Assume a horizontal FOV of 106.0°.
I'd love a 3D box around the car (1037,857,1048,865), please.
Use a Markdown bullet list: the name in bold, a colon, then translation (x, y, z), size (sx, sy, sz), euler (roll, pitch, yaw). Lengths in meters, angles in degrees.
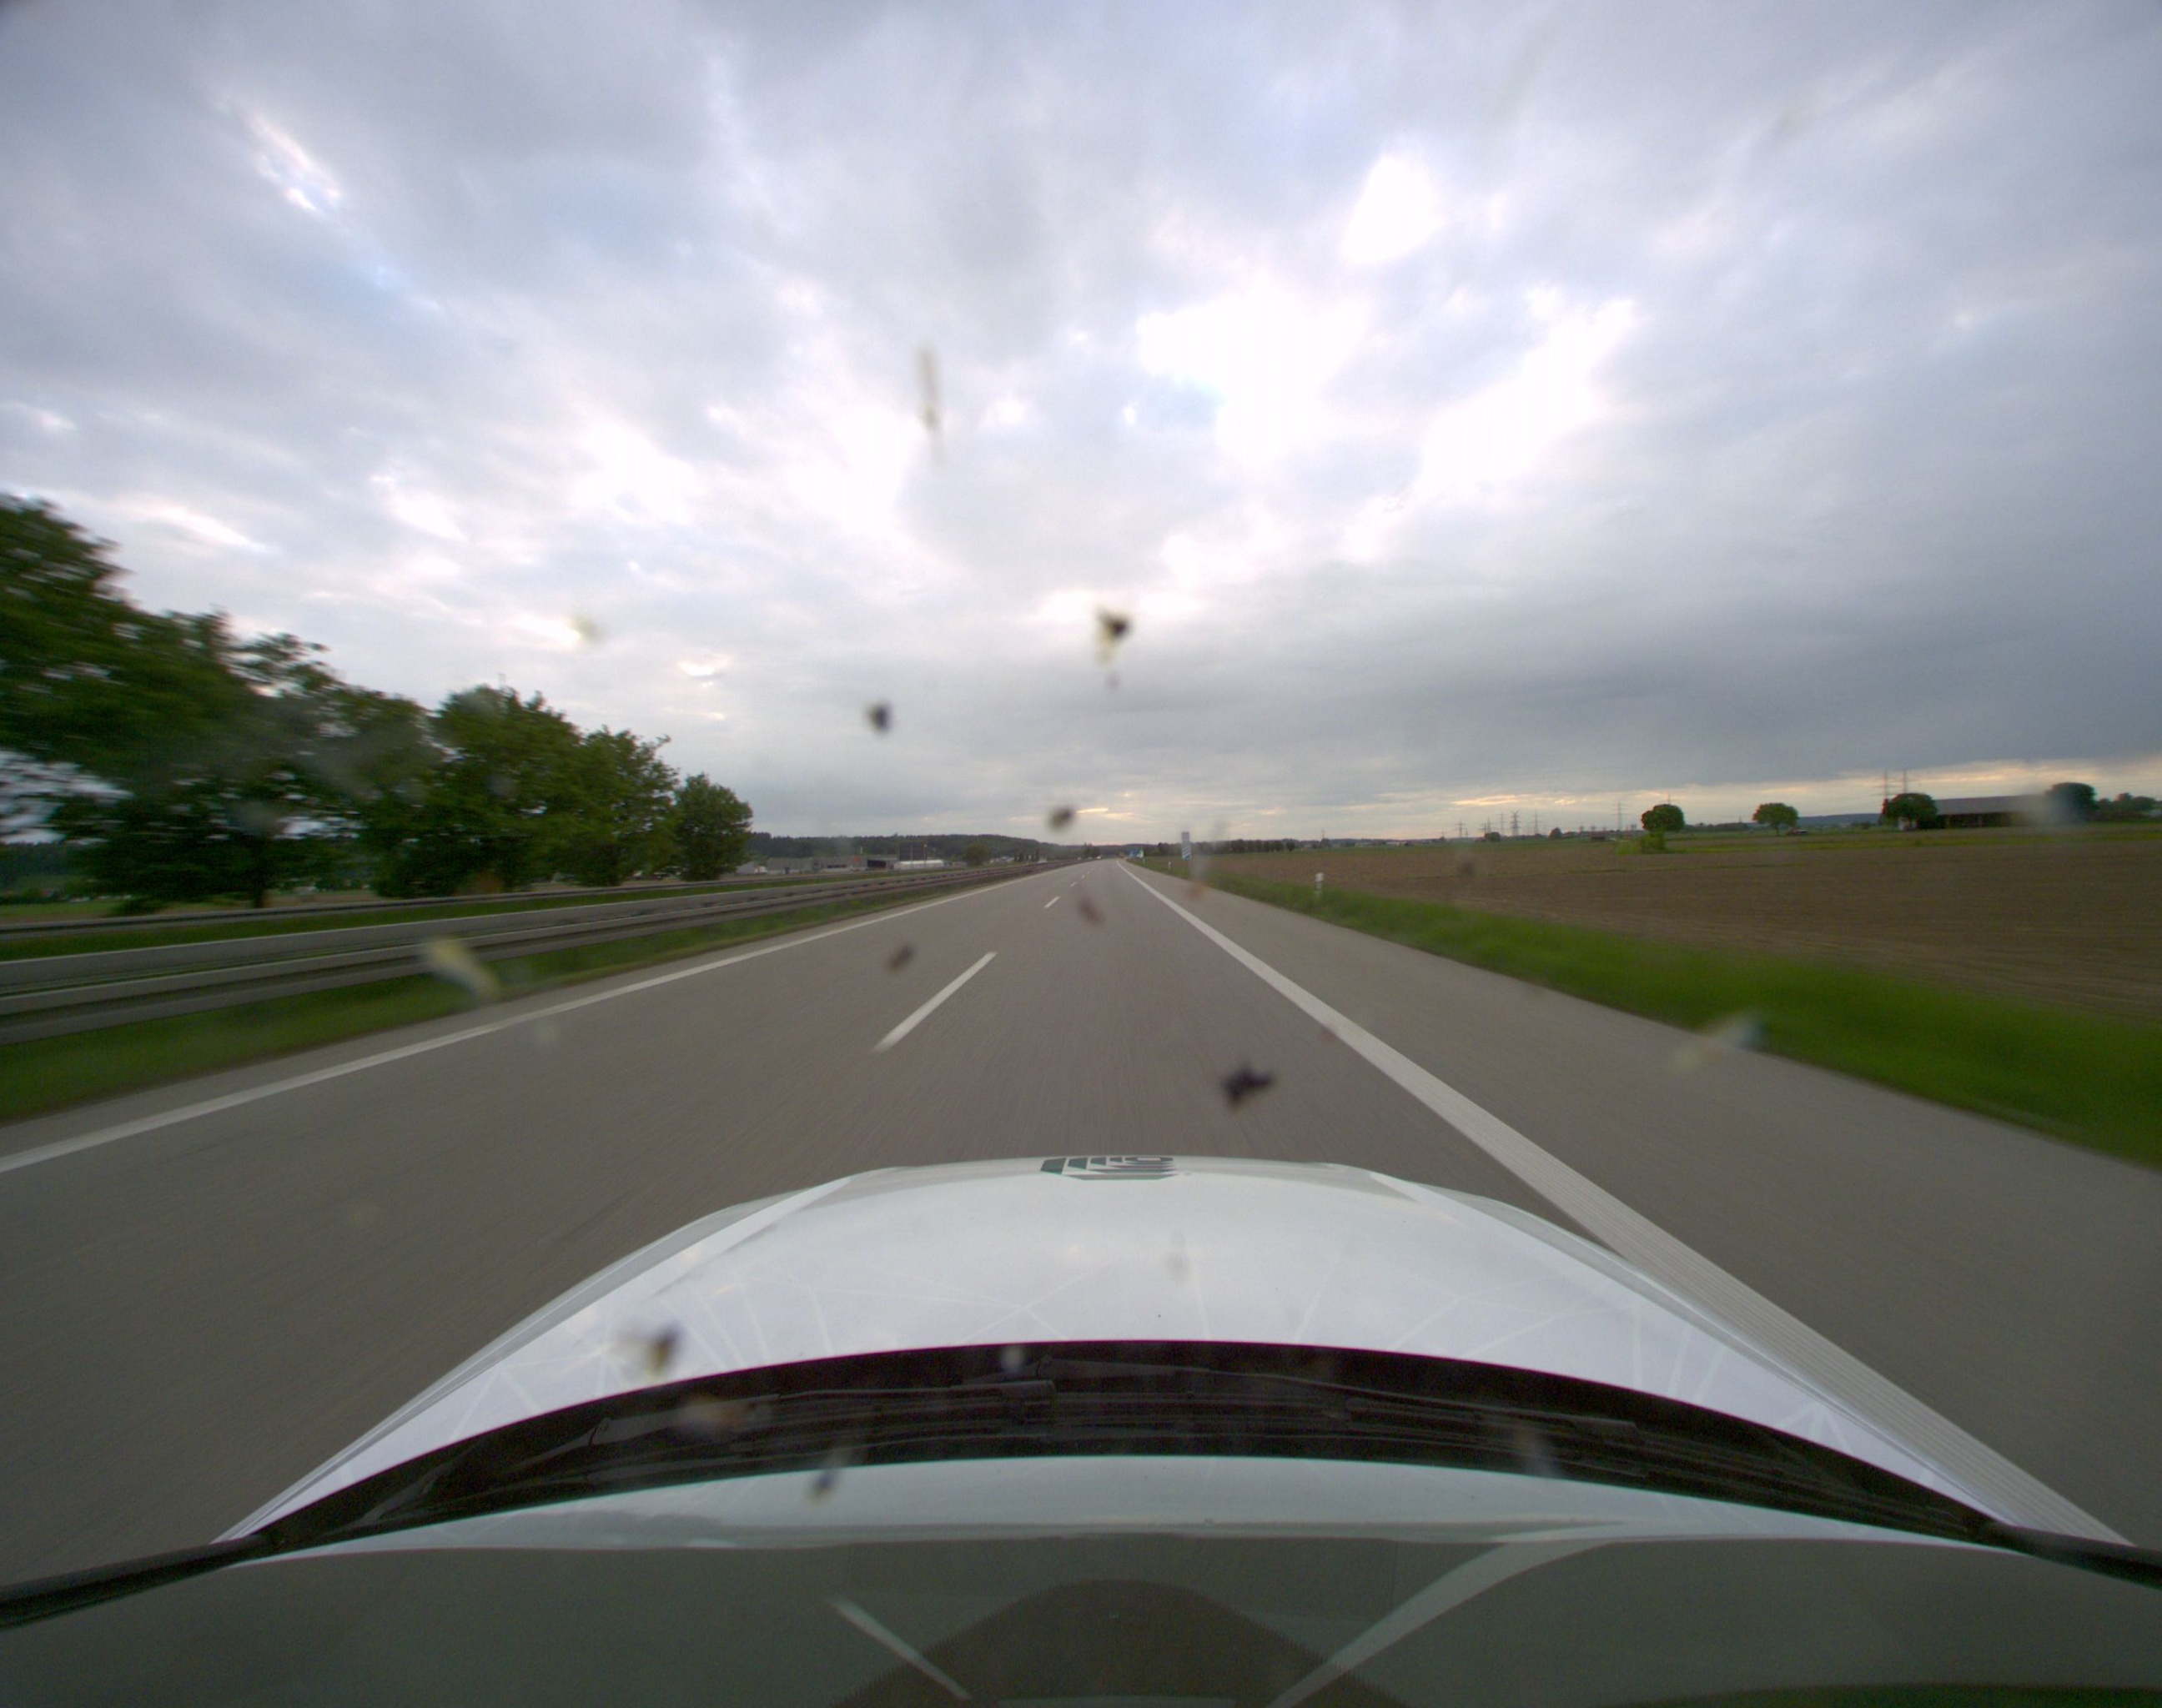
- **car**: translation (-7.925, 1.496, 167.909), size (1.734, 1.574, 4.858), euler (-1, 0, 2)
